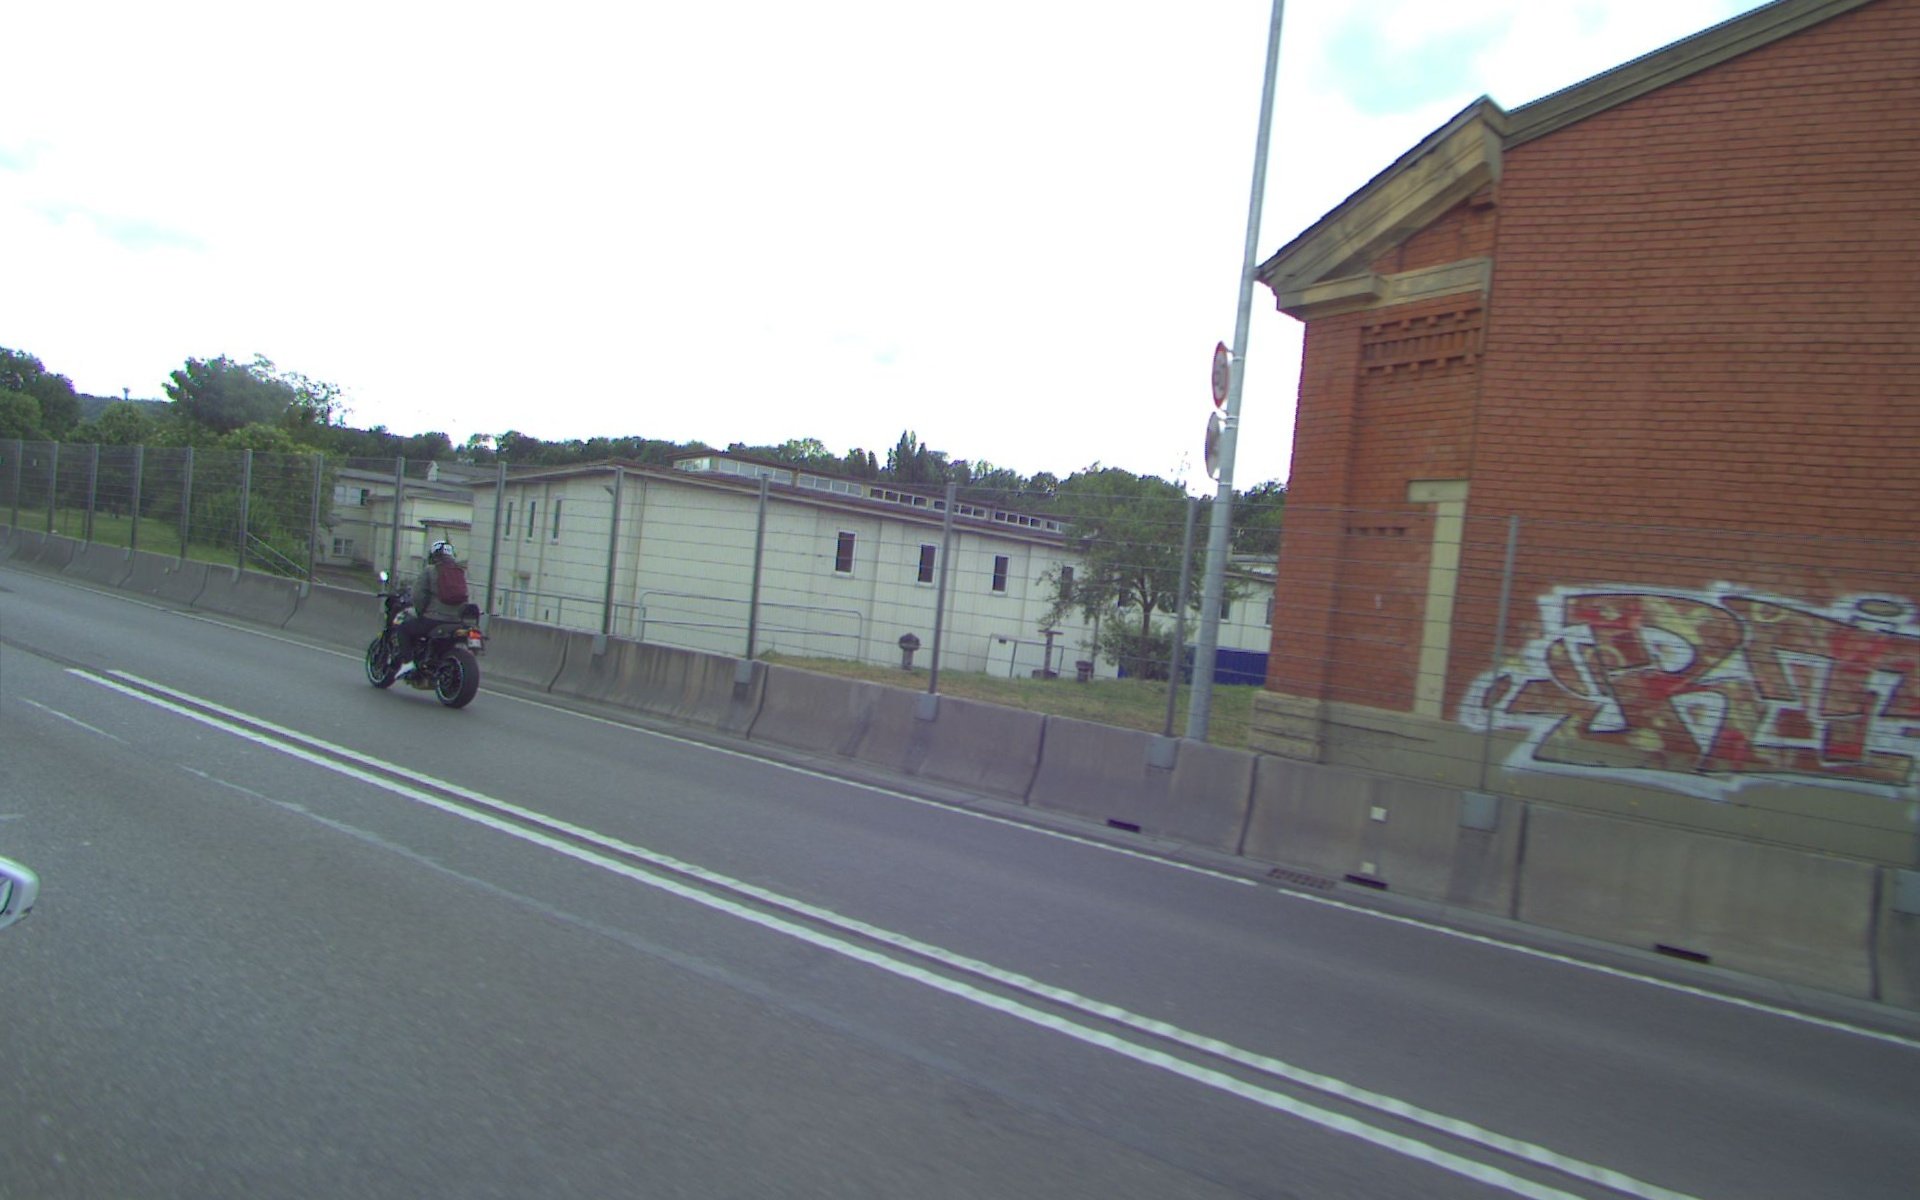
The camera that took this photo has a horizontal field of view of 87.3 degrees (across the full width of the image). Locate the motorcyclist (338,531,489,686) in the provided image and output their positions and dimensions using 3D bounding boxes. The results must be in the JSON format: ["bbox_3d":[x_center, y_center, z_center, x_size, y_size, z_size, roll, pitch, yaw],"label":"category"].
[{"bbox_3d":[-5.795,0.100,10.690,0.950,1.495,0.914,7,0,29],"label":"motorcyclist"}]

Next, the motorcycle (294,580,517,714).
[{"bbox_3d":[-5.972,0.468,10.774,2.619,1.097,0.745,6,0,29],"label":"motorcycle"}]
